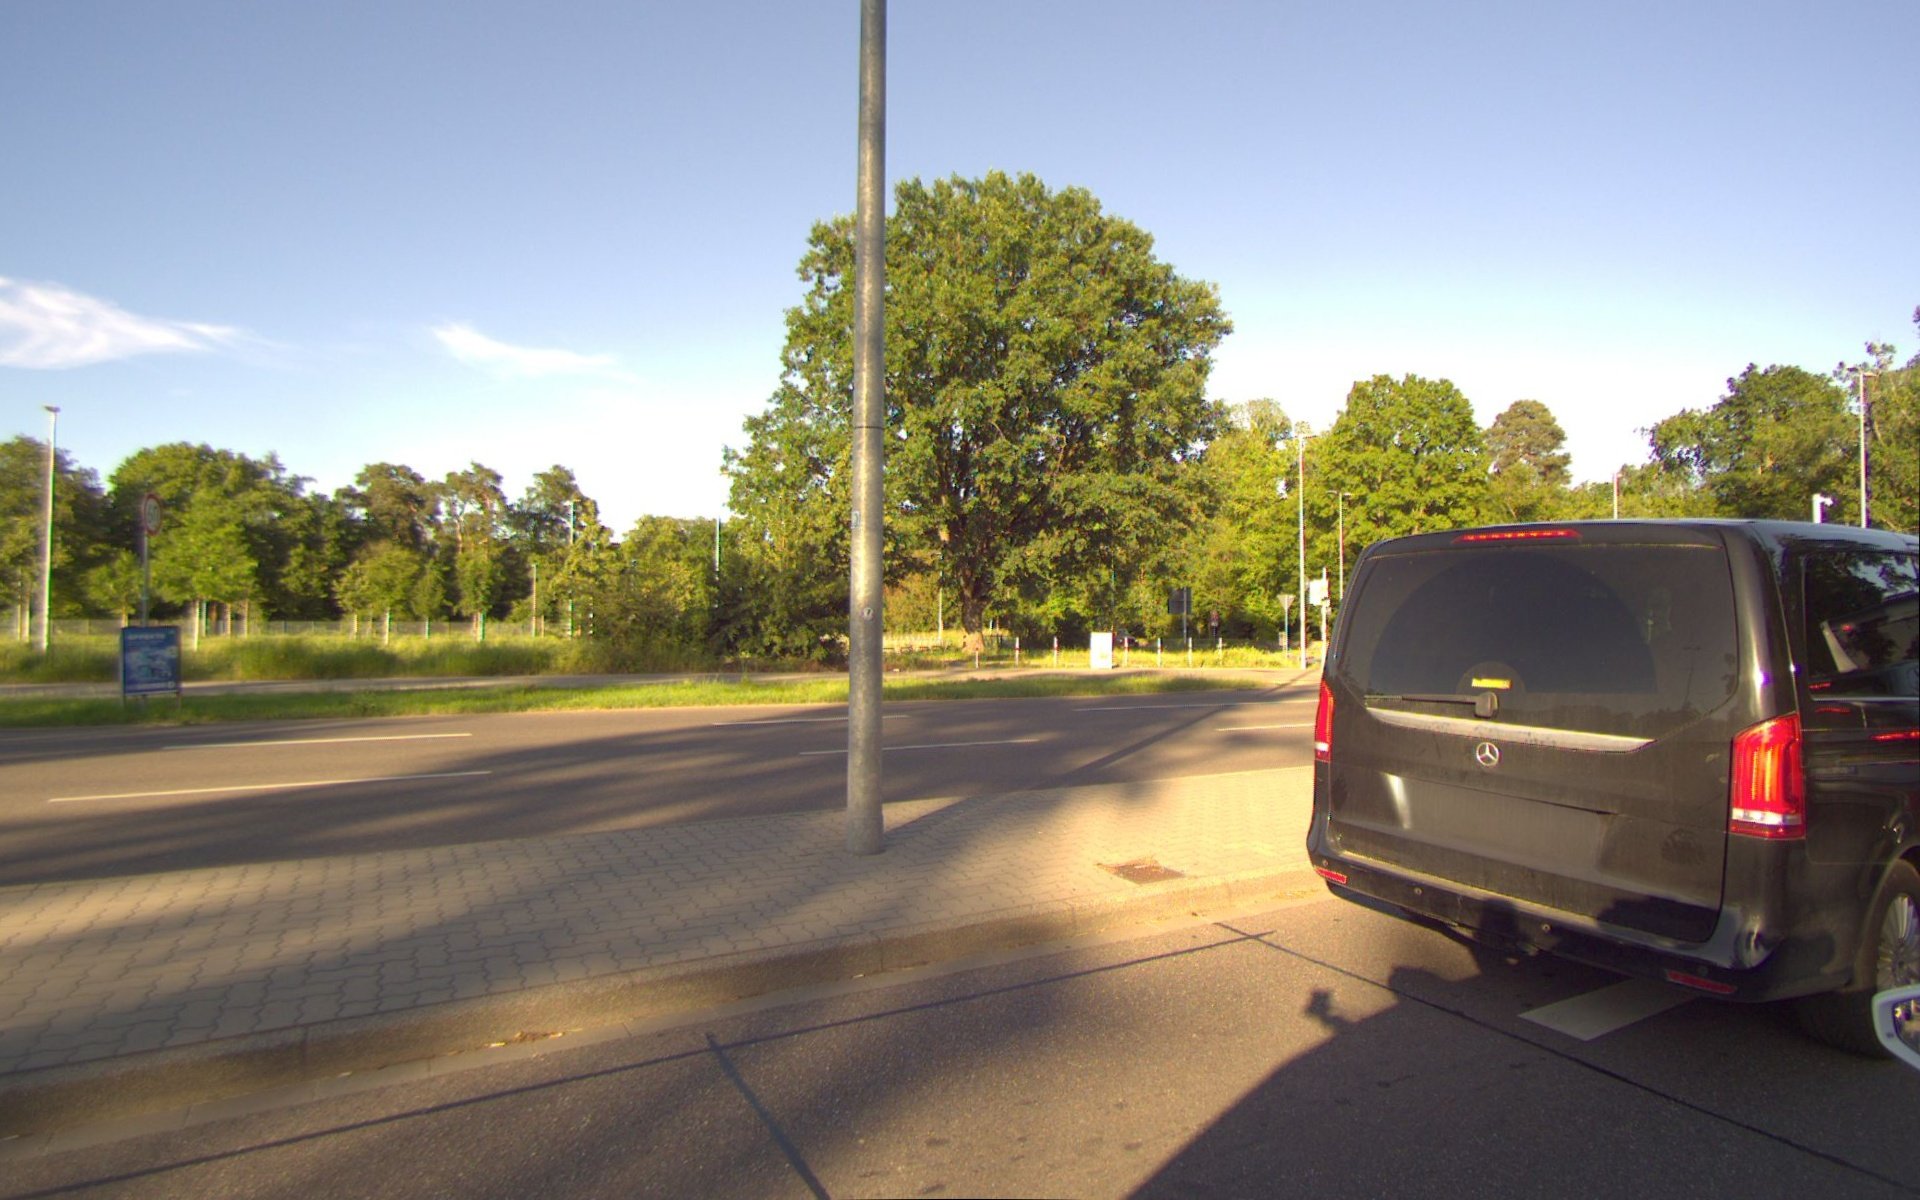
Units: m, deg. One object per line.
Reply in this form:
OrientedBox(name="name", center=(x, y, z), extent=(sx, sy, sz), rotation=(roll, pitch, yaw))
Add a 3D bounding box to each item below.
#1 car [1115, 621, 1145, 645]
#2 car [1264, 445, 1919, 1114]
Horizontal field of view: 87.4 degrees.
OrientedBox(name="car", center=(12.876, 2.508, 76.318), extent=(1.959, 1.639, 4.002), rotation=(2, 0, 7))
OrientedBox(name="car", center=(3.900, 0.542, 4.900), extent=(4.818, 1.881, 1.897), rotation=(1, 0, -31))
